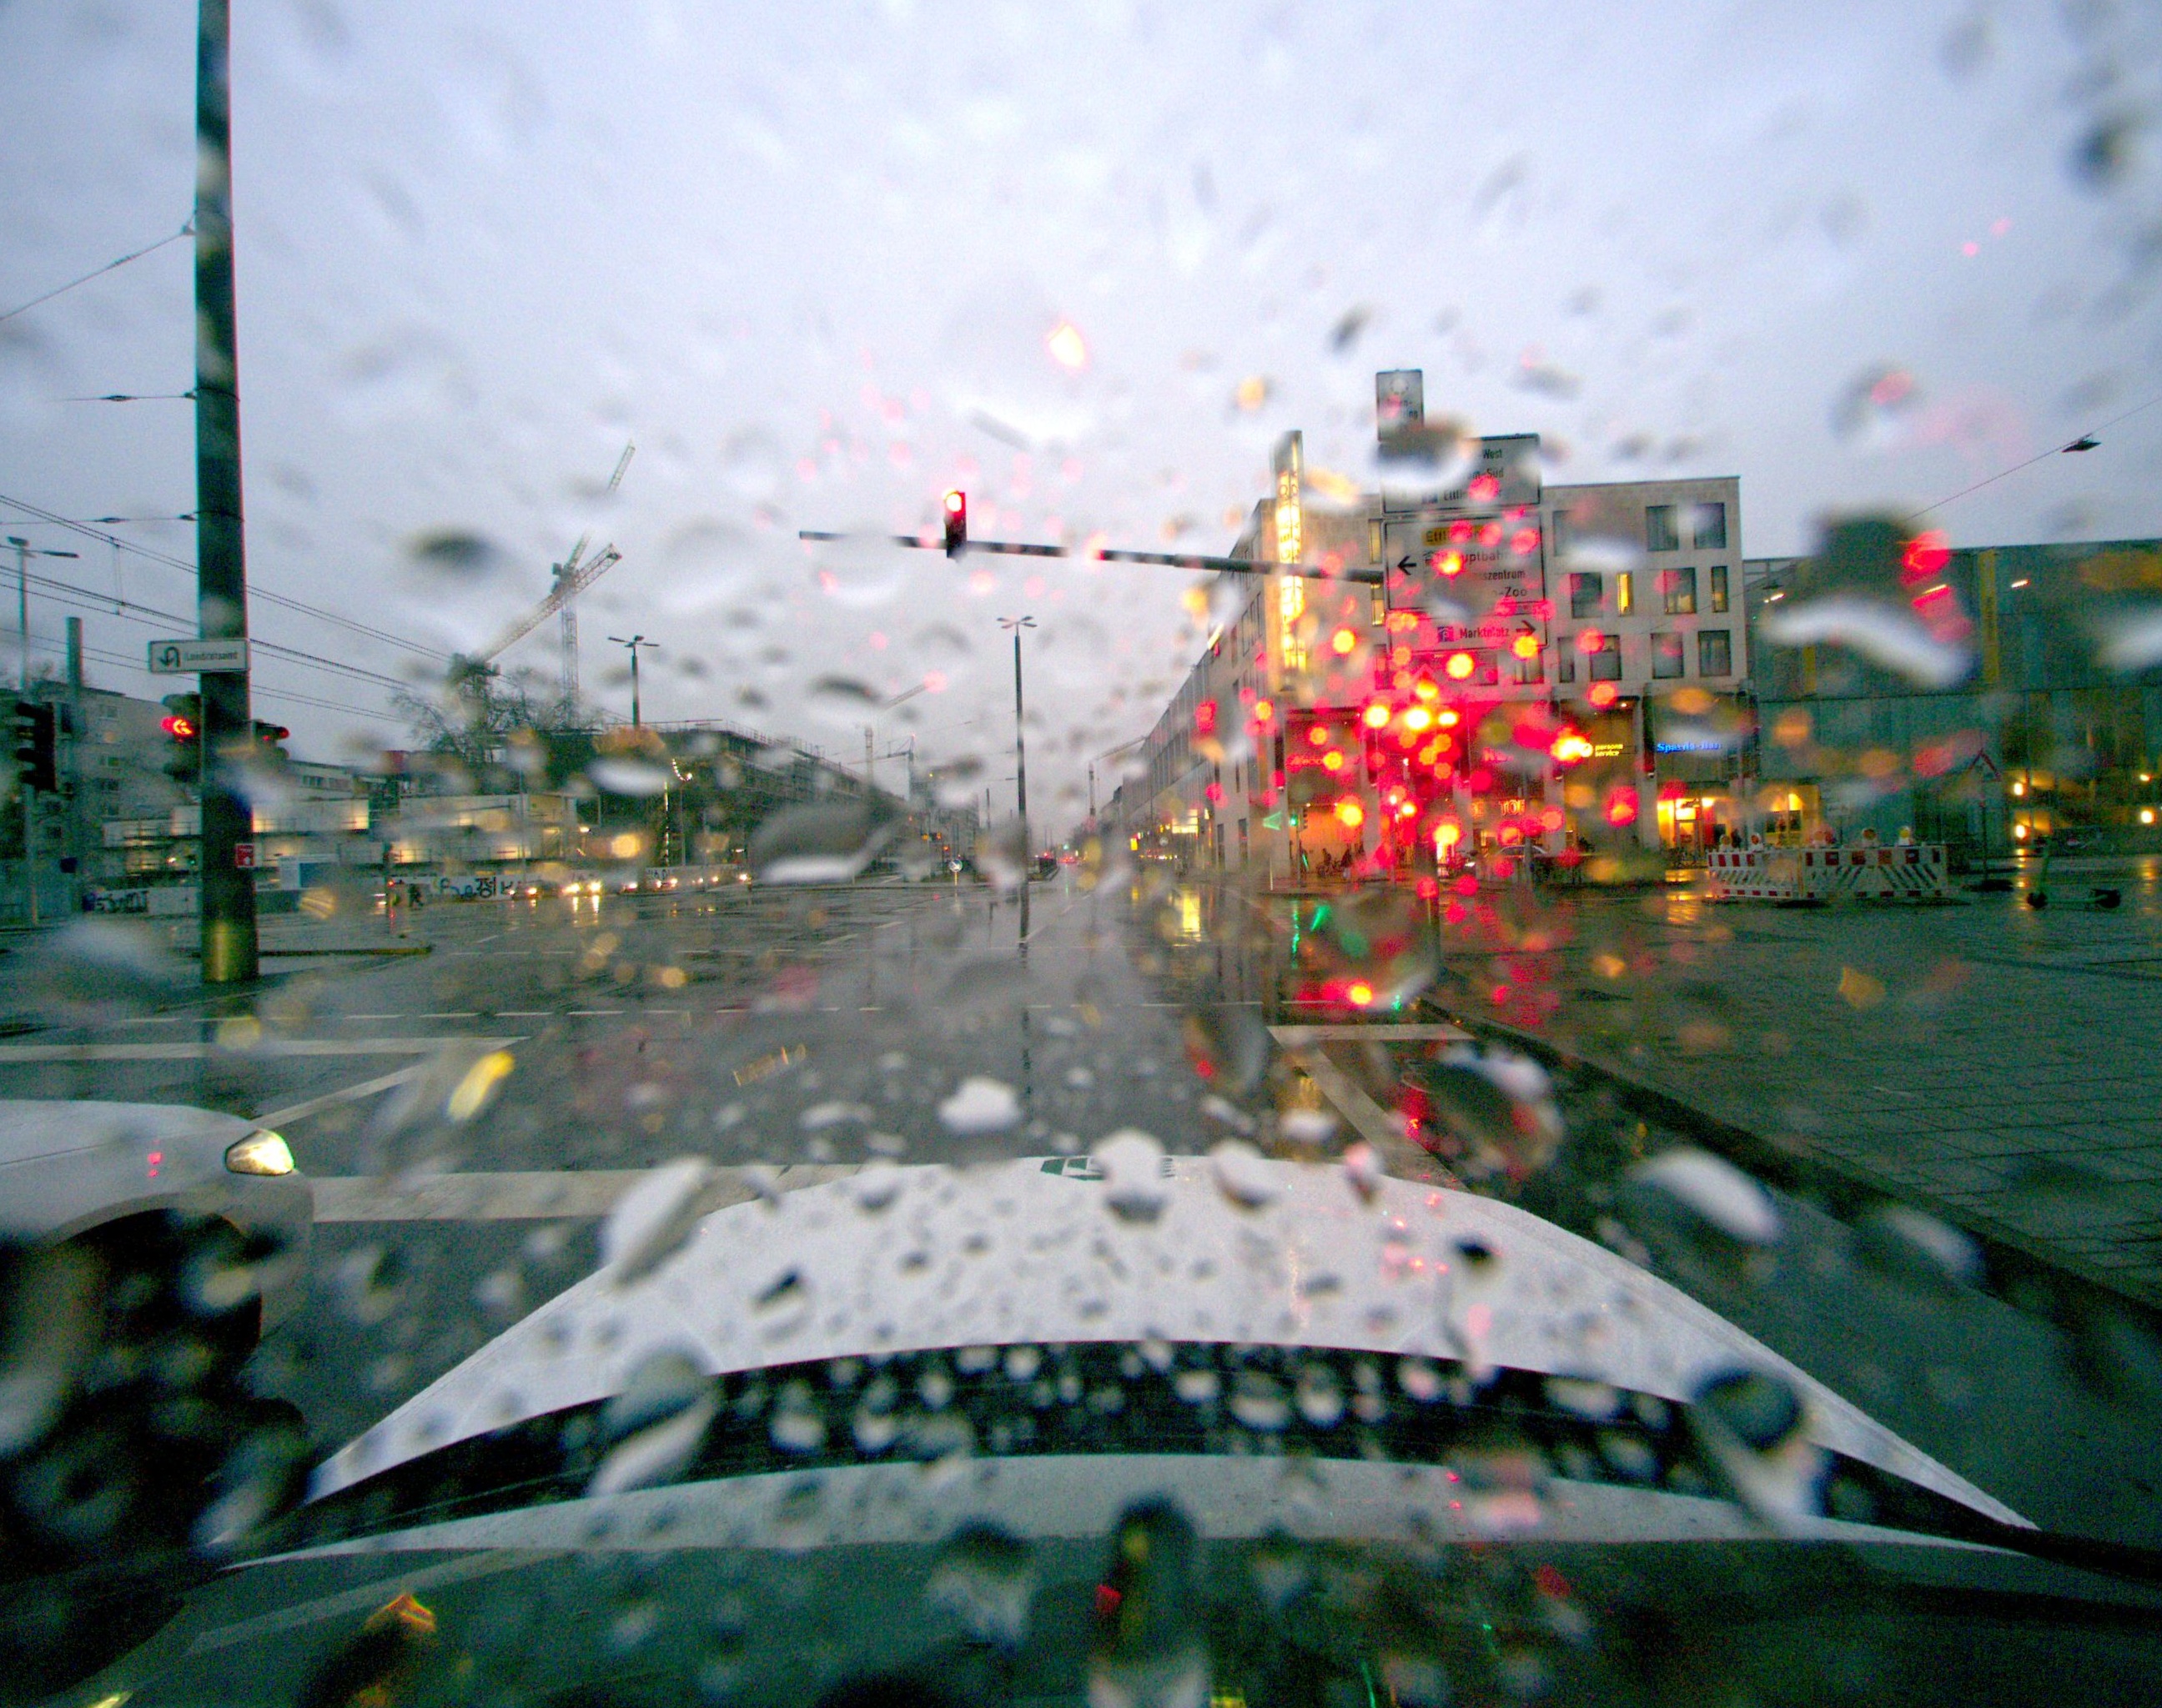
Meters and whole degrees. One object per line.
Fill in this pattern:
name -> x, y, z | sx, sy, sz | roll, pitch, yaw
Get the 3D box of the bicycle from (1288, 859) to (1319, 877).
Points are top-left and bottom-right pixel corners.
bicycle -> 13.776, 0.852, 50.468 | 1.763, 1.070, 0.524 | 0, -1, -4

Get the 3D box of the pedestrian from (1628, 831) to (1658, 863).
pedestrian -> 30.024, -0.364, 43.553 | 1.026, 1.684, 0.824 | 0, -1, 1

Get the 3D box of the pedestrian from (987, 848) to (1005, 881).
pedestrian -> -4.888, 0.603, 46.737 | 0.826, 1.831, 0.778 | 0, -1, -29

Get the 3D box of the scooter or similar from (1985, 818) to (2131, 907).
scooter or similar -> 15.690, 0.126, 13.139 | 0.590, 1.352, 1.495 | 0, 0, 2

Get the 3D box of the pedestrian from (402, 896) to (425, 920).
pedestrian -> -39.206, 3.164, 47.848 | 0.722, 1.388, 0.728 | -1, -1, 17

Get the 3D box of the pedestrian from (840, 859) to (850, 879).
pedestrian -> -22.629, 1.470, 78.065 | 0.762, 1.898, 0.763 | 0, -2, 1

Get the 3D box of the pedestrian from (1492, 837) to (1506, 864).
pedestrian -> 27.523, -0.239, 53.637 | 0.728, 1.718, 0.743 | -3, -1, 29

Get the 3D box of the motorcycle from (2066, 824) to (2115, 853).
motorcycle -> 48.228, -0.753, 38.919 | 1.482, 1.352, 0.595 | 0, 0, 5

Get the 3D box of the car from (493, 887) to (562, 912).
car -> -38.610, 3.153, 56.949 | 1.986, 1.530, 4.001 | -2, 0, 2

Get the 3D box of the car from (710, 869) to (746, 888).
car -> -35.319, 2.466, 81.578 | 1.988, 1.790, 3.996 | 0, -1, -2

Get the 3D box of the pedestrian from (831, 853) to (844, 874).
pedestrian -> -23.688, 0.955, 79.184 | 0.938, 2.014, 1.094 | 0, -1, 2

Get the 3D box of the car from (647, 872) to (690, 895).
car -> -34.619, 2.445, 68.418 | 1.862, 1.828, 3.993 | 0, -1, -5

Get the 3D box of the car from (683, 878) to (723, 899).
car -> -35.248, 3.189, 76.013 | 1.988, 1.790, 3.996 | 0, -1, -2

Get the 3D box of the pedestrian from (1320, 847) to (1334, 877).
pedestrian -> 14.593, 0.473, 48.337 | 0.634, 1.709, 0.574 | -2, -1, 1

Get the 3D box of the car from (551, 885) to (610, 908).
car -> -39.004, 3.304, 63.528 | 1.986, 1.530, 4.001 | -2, 0, 2

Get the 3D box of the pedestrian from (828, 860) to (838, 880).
pedestrian -> -23.667, 1.523, 77.716 | 0.696, 1.881, 0.553 | 0, -1, 1

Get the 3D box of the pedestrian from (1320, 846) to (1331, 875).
pedestrian -> 14.415, 0.376, 48.038 | 0.480, 1.663, 0.460 | -3, -1, 32

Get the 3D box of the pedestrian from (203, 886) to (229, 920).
pedestrian -> -51.971, 2.953, 48.954 | 0.861, 2.014, 0.624 | 0, -1, -6

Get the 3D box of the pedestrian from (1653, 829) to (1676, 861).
pedestrian -> 32.647, -0.504, 45.588 | 0.782, 1.739, 0.779 | -3, -1, 17

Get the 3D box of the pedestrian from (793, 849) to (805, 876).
pedestrian -> -24.055, 0.749, 69.494 | 0.762, 2.323, 0.763 | 0, -2, 1

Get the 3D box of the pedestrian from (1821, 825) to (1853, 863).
pedestrian -> 34.366, -0.459, 37.007 | 0.737, 1.684, 0.783 | 0, -1, 8

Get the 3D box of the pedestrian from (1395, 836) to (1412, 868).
pedestrian -> 21.059, -0.118, 53.195 | 0.841, 2.013, 0.700 | -2, 0, 10

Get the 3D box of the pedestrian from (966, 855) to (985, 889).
pedestrian -> -6.172, 1.050, 47.689 | 0.776, 2.014, 0.732 | -1, -1, 44

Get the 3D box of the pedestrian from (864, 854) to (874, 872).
pedestrian -> -23.977, 1.063, 92.083 | 0.940, 2.014, 1.092 | 0, -1, -5

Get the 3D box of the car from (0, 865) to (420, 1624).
car -> -3.185, 0.805, 0.326 | 2.010, 1.487, 4.561 | -2, 0, 1

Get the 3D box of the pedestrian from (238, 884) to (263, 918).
pedestrian -> -50.686, 2.855, 49.698 | 0.781, 2.014, 0.748 | 0, -1, 6

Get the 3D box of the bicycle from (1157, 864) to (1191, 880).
bicycle -> 7.030, 1.344, 61.531 | 2.434, 1.154, 0.674 | -2, -1, 0

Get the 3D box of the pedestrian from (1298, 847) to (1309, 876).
pedestrian -> 13.599, 0.441, 49.699 | 0.596, 1.745, 0.526 | -1, -1, 10

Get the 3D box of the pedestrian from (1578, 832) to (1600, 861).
pedestrian -> 29.375, -0.429, 47.088 | 0.890, 1.684, 0.528 | -2, -1, 1

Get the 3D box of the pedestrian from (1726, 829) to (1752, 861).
pedestrian -> 35.184, -0.481, 43.553 | 0.737, 1.684, 0.783 | 0, -1, 8

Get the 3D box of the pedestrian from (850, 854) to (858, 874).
pedestrian -> -22.741, 1.022, 81.525 | 0.569, 1.968, 0.664 | 1, -1, -4

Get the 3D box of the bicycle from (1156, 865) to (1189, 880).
bicycle -> 7.022, 1.421, 62.274 | 2.417, 1.099, 0.712 | -2, -1, 0

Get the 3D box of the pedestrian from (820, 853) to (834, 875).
pedestrian -> -23.918, 0.936, 76.752 | 0.939, 2.014, 1.094 | 0, -1, 0

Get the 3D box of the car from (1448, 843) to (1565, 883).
car -> 17.992, 0.370, 34.581 | 3.970, 1.618, 2.001 | 0, -1, 3

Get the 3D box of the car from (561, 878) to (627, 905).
car -> -33.636, 2.570, 56.379 | 1.986, 1.657, 4.001 | -2, -1, 2

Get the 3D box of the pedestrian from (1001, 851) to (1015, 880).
pedestrian -> -4.336, 0.685, 48.209 | 0.605, 1.686, 0.581 | -1, -1, 44

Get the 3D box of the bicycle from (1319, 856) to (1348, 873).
bicycle -> 15.701, 0.659, 50.588 | 1.642, 1.070, 0.524 | 0, -1, -2

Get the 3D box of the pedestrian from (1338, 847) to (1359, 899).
pedestrian -> 12.700, 0.914, 38.660 | 0.712, 2.441, 0.758 | 0, -1, 1

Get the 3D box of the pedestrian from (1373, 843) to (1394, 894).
pedestrian -> 14.476, 0.693, 38.963 | 0.691, 2.448, 0.792 | 0, -1, 1

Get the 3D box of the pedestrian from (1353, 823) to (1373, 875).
pedestrian -> 13.519, -0.233, 39.050 | 0.687, 2.441, 0.758 | 0, -1, 1

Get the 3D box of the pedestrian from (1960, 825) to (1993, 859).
pedestrian -> 44.081, -0.579, 40.092 | 0.737, 1.684, 0.783 | 0, -1, 8

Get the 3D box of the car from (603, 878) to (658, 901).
car -> -34.273, 2.647, 62.072 | 2.074, 1.530, 4.603 | -2, 0, -8

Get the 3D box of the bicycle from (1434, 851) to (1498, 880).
bicycle -> 19.256, 0.582, 40.779 | 2.705, 1.359, 0.957 | -2, -1, -2
